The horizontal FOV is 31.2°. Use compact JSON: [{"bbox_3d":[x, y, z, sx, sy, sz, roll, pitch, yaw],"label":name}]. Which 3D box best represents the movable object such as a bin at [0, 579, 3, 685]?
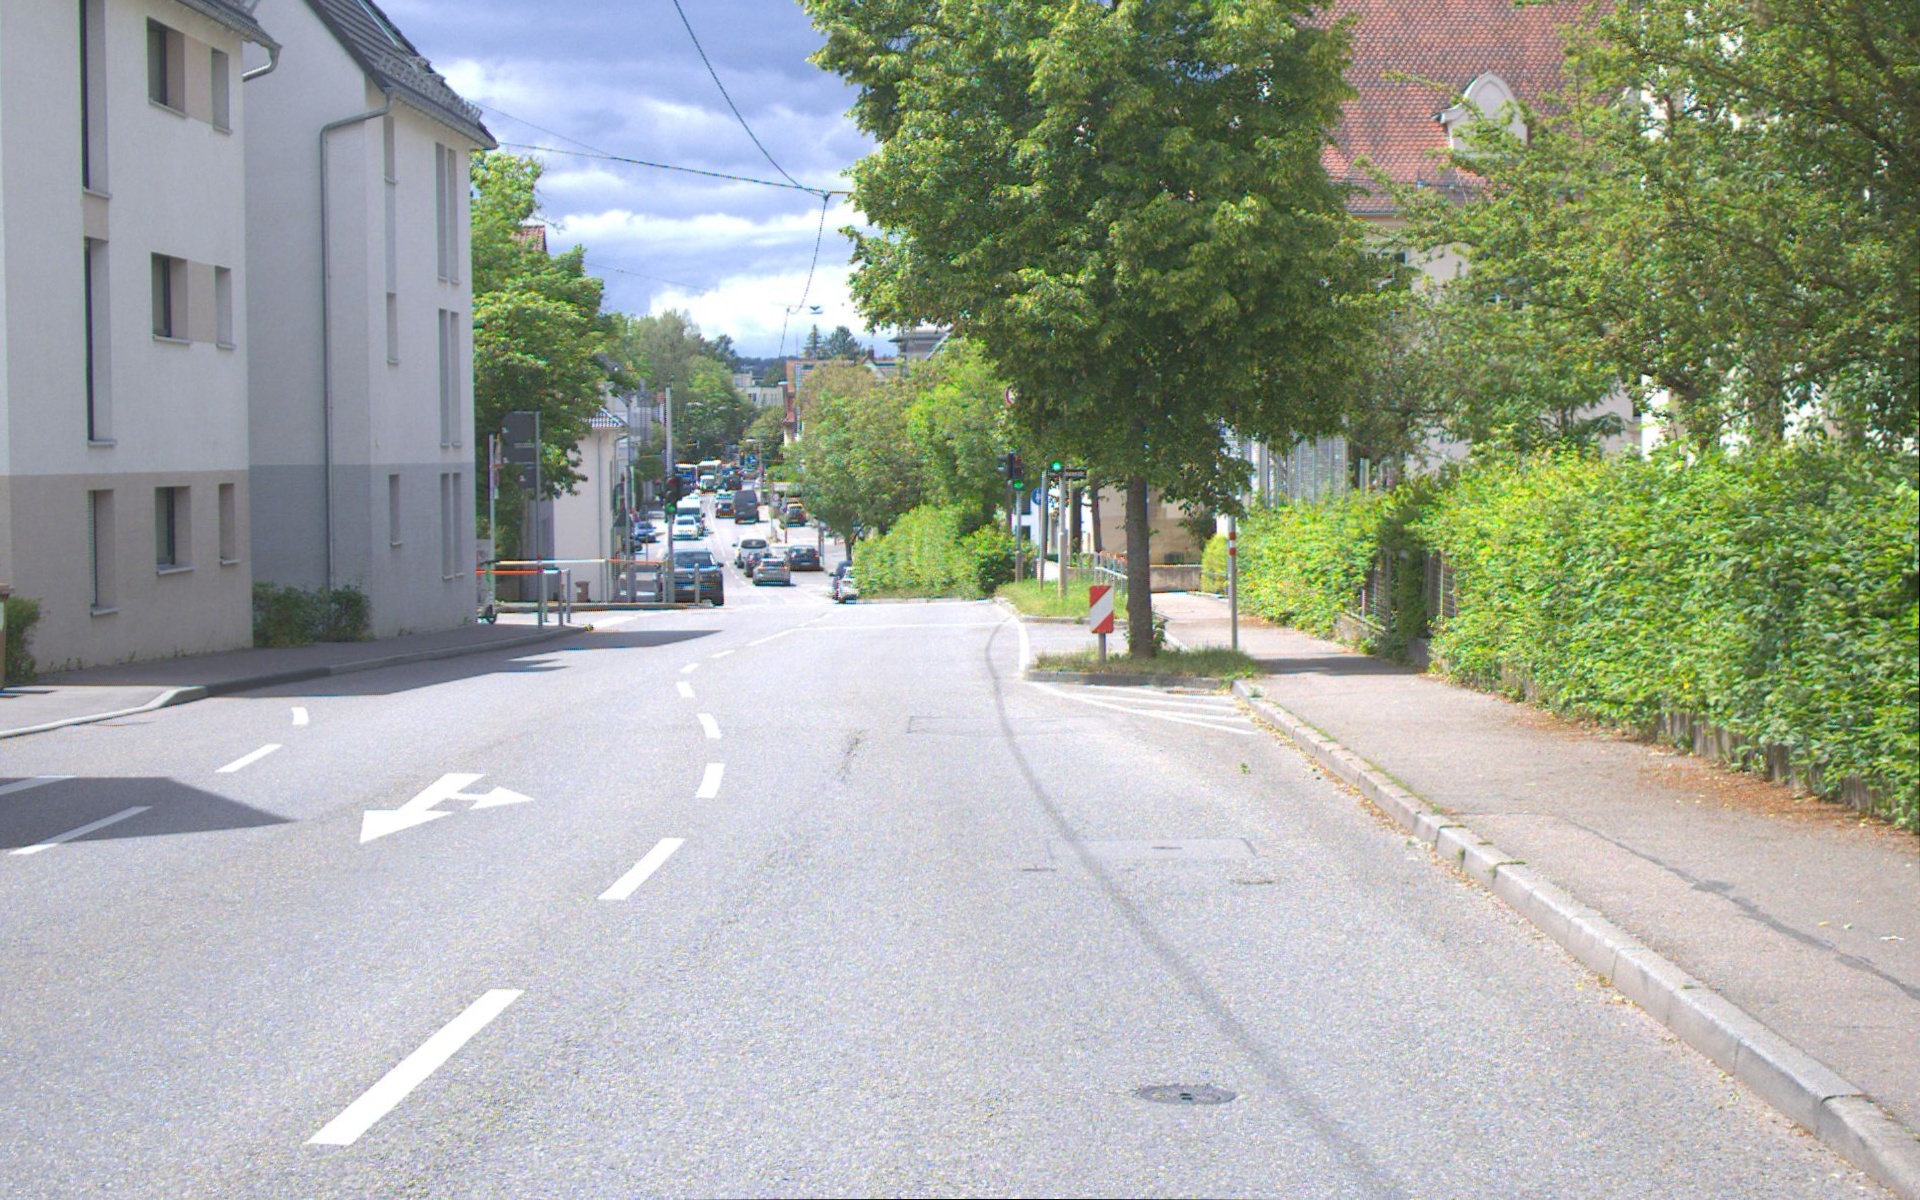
[{"bbox_3d":[-9.332,0.310,32.014,0.640,0.997,0.657,0,1,0],"label":"movable object such as a bin"}]

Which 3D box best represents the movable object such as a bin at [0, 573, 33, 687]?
[{"bbox_3d":[-9.241,0.281,32.759,0.640,1.071,0.660,0,1,-2],"label":"movable object such as a bin"}]

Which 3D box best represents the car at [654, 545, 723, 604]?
[{"bbox_3d":[-7.648,-0.736,97.292,1.795,1.605,4.646,0,1,-3],"label":"car"}]

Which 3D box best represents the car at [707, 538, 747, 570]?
[{"bbox_3d":[-13.795,-2.755,203.678,1.836,1.855,3.852,0,1,-12],"label":"car"}]

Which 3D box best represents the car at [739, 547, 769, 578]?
[{"bbox_3d":[-11.613,-2.123,193.740,1.273,1.522,3.052,-1,4,-12],"label":"car"}]

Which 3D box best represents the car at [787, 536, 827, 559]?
[{"bbox_3d":[-8.932,-3.070,200.547,1.752,1.366,4.001,-1,1,-11],"label":"car"}]

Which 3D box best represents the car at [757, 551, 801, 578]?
[{"bbox_3d":[-9.737,-1.930,184.804,1.743,1.412,4.001,-1,1,-12],"label":"car"}]

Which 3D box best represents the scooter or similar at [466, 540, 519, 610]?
[{"bbox_3d":[-8.538,-0.451,62.722,0.489,1.257,1.307,-1,1,-29],"label":"scooter or similar"}]

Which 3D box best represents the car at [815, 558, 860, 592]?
[{"bbox_3d":[-5.487,-1.128,153.702,1.786,1.504,4.365,0,0,-5],"label":"car"}]

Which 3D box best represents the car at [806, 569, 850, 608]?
[{"bbox_3d":[-6.120,-0.555,159.459,1.844,1.761,4.516,0,0,-5],"label":"car"}]

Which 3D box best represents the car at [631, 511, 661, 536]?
[{"bbox_3d":[-22.041,-5.376,241.468,1.873,1.634,4.000,1,1,-2],"label":"car"}]
